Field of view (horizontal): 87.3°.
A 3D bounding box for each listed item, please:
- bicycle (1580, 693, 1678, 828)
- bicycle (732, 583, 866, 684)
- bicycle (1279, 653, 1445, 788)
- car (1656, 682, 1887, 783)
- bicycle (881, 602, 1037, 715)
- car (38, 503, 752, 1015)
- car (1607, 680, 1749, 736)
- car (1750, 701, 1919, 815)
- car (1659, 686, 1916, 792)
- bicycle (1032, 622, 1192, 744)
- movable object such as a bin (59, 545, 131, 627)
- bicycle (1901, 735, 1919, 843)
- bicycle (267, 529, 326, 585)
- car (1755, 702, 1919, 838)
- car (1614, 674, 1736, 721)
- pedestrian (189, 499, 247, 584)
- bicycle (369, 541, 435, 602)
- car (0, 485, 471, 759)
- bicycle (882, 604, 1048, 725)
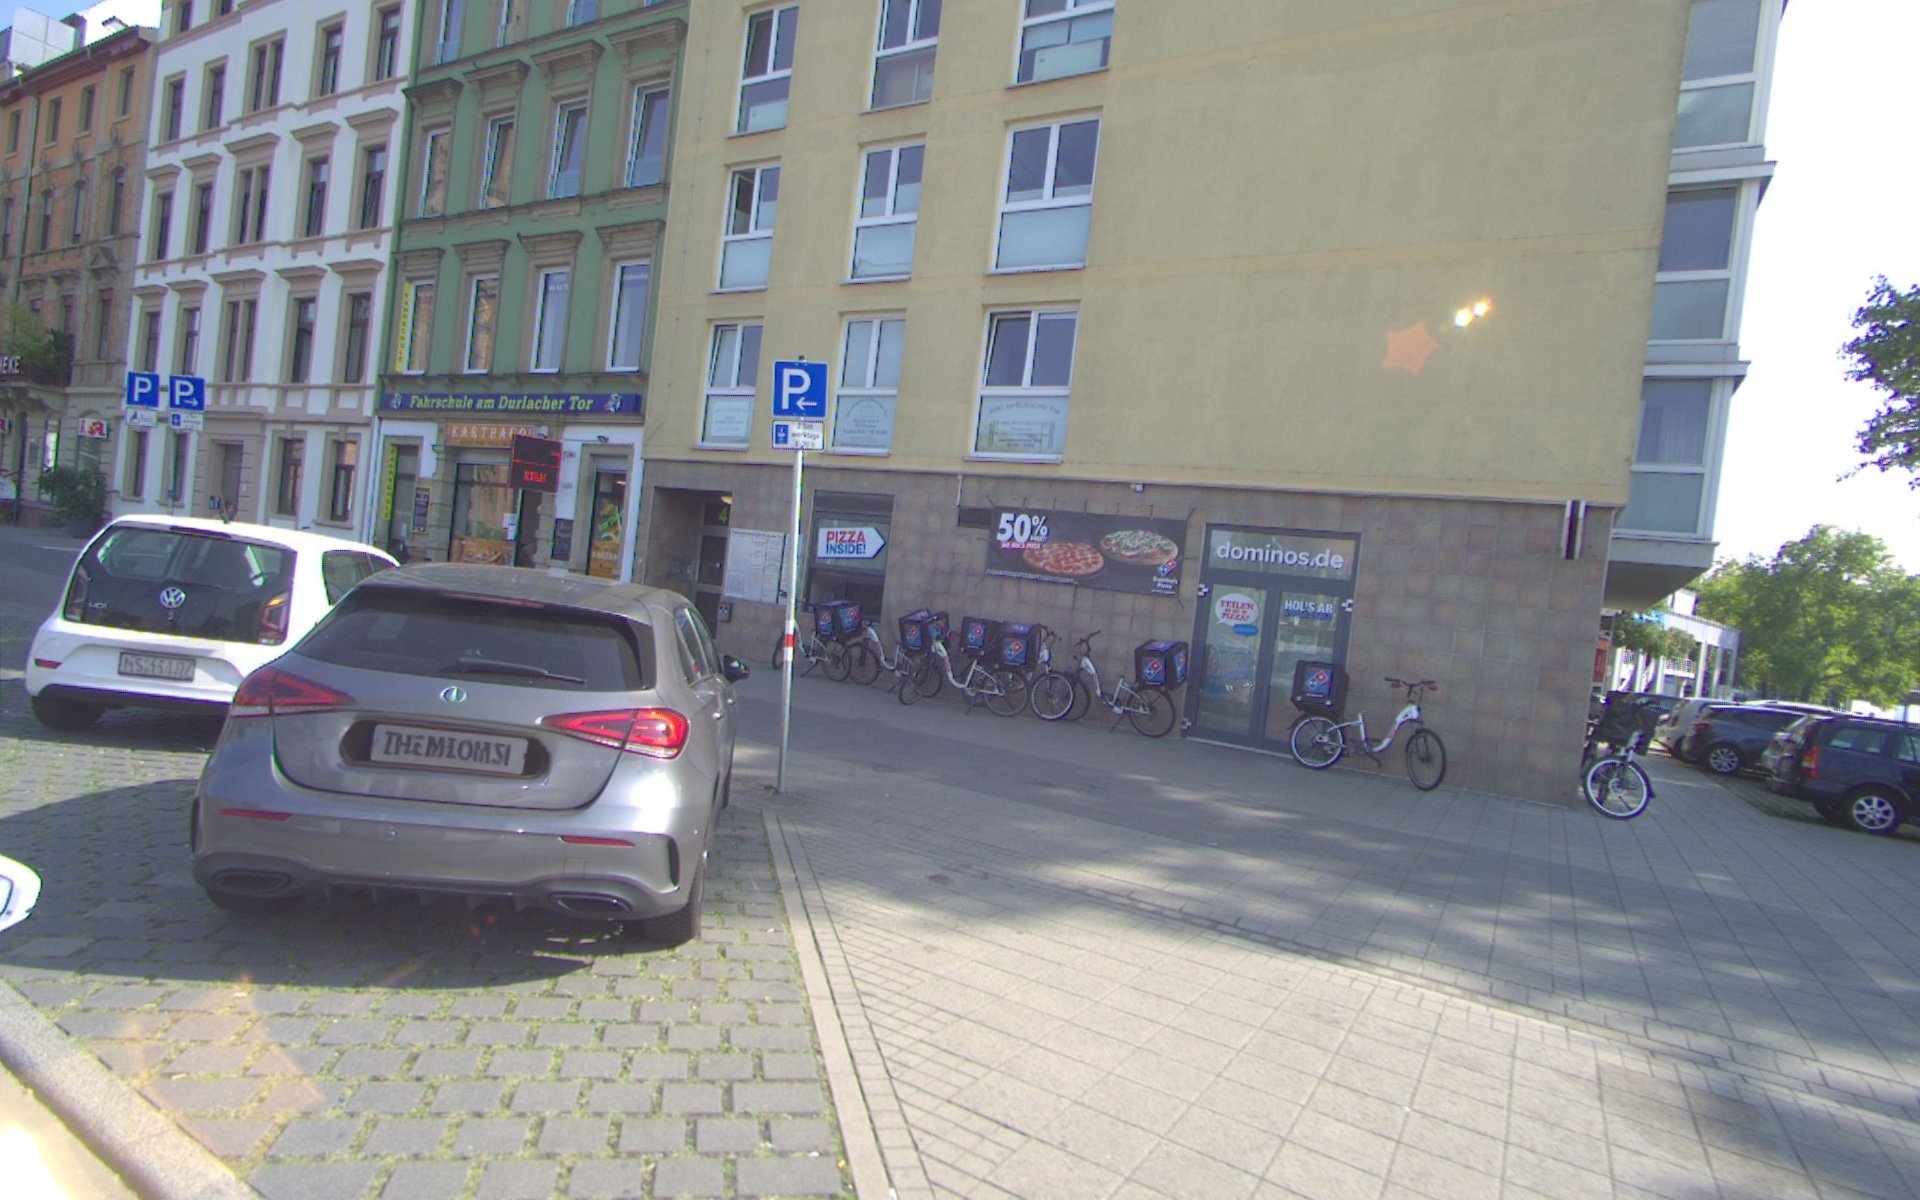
[{"bbox_3d":[7.346,1.703,11.117,0.659,1.221,2.019,8,1,31],"label":"bicycle"},{"bbox_3d":[-2.471,0.500,15.309,1.964,1.277,0.603,7,1,31],"label":"bicycle"},{"bbox_3d":[4.635,1.359,11.644,1.609,1.277,0.469,7,1,30],"label":"bicycle"},{"bbox_3d":[19.280,3.084,24.173,3.934,1.665,1.995,7,1,32],"label":"car"},{"bbox_3d":[-0.023,0.794,13.994,1.961,1.277,0.604,7,1,23],"label":"bicycle"},{"bbox_3d":[-2.148,0.518,5.295,1.817,1.440,4.401,7,0,-10],"label":"car"},{"bbox_3d":[26.426,3.944,37.202,3.932,1.393,1.996,7,0,30],"label":"car"},{"bbox_3d":[16.298,2.817,17.273,3.934,1.526,1.995,7,1,32],"label":"car"},{"bbox_3d":[17.812,2.928,21.949,3.934,1.526,1.995,7,1,32],"label":"car"},{"bbox_3d":[1.945,1.039,12.971,1.818,1.277,0.603,7,1,30],"label":"bicycle"},{"bbox_3d":[-10.609,-0.168,12.339,0.528,0.914,0.490,7,1,33],"label":"movable object such as a bin"},{"bbox_3d":[12.548,2.395,11.627,2.261,1.250,0.523,7,1,27],"label":"bicycle"},{"bbox_3d":[-15.597,-1.026,23.633,1.691,1.148,0.384,7,1,32],"label":"bicycle"},{"bbox_3d":[13.170,2.403,13.091,4.125,1.459,1.658,7,1,32],"label":"car"},{"bbox_3d":[30.376,4.117,42.895,3.932,1.393,1.739,7,1,30],"label":"car"},{"bbox_3d":[-15.234,-1.198,20.654,0.725,1.650,0.609,7,1,31],"label":"pedestrian"},{"bbox_3d":[-12.092,-0.622,21.780,1.691,1.148,0.384,7,1,32],"label":"bicycle"},{"bbox_3d":[-5.256,0.136,7.825,1.596,1.482,3.521,7,0,-11],"label":"car"},{"bbox_3d":[0.053,0.818,13.152,1.961,1.277,0.604,7,1,23],"label":"bicycle"}]
